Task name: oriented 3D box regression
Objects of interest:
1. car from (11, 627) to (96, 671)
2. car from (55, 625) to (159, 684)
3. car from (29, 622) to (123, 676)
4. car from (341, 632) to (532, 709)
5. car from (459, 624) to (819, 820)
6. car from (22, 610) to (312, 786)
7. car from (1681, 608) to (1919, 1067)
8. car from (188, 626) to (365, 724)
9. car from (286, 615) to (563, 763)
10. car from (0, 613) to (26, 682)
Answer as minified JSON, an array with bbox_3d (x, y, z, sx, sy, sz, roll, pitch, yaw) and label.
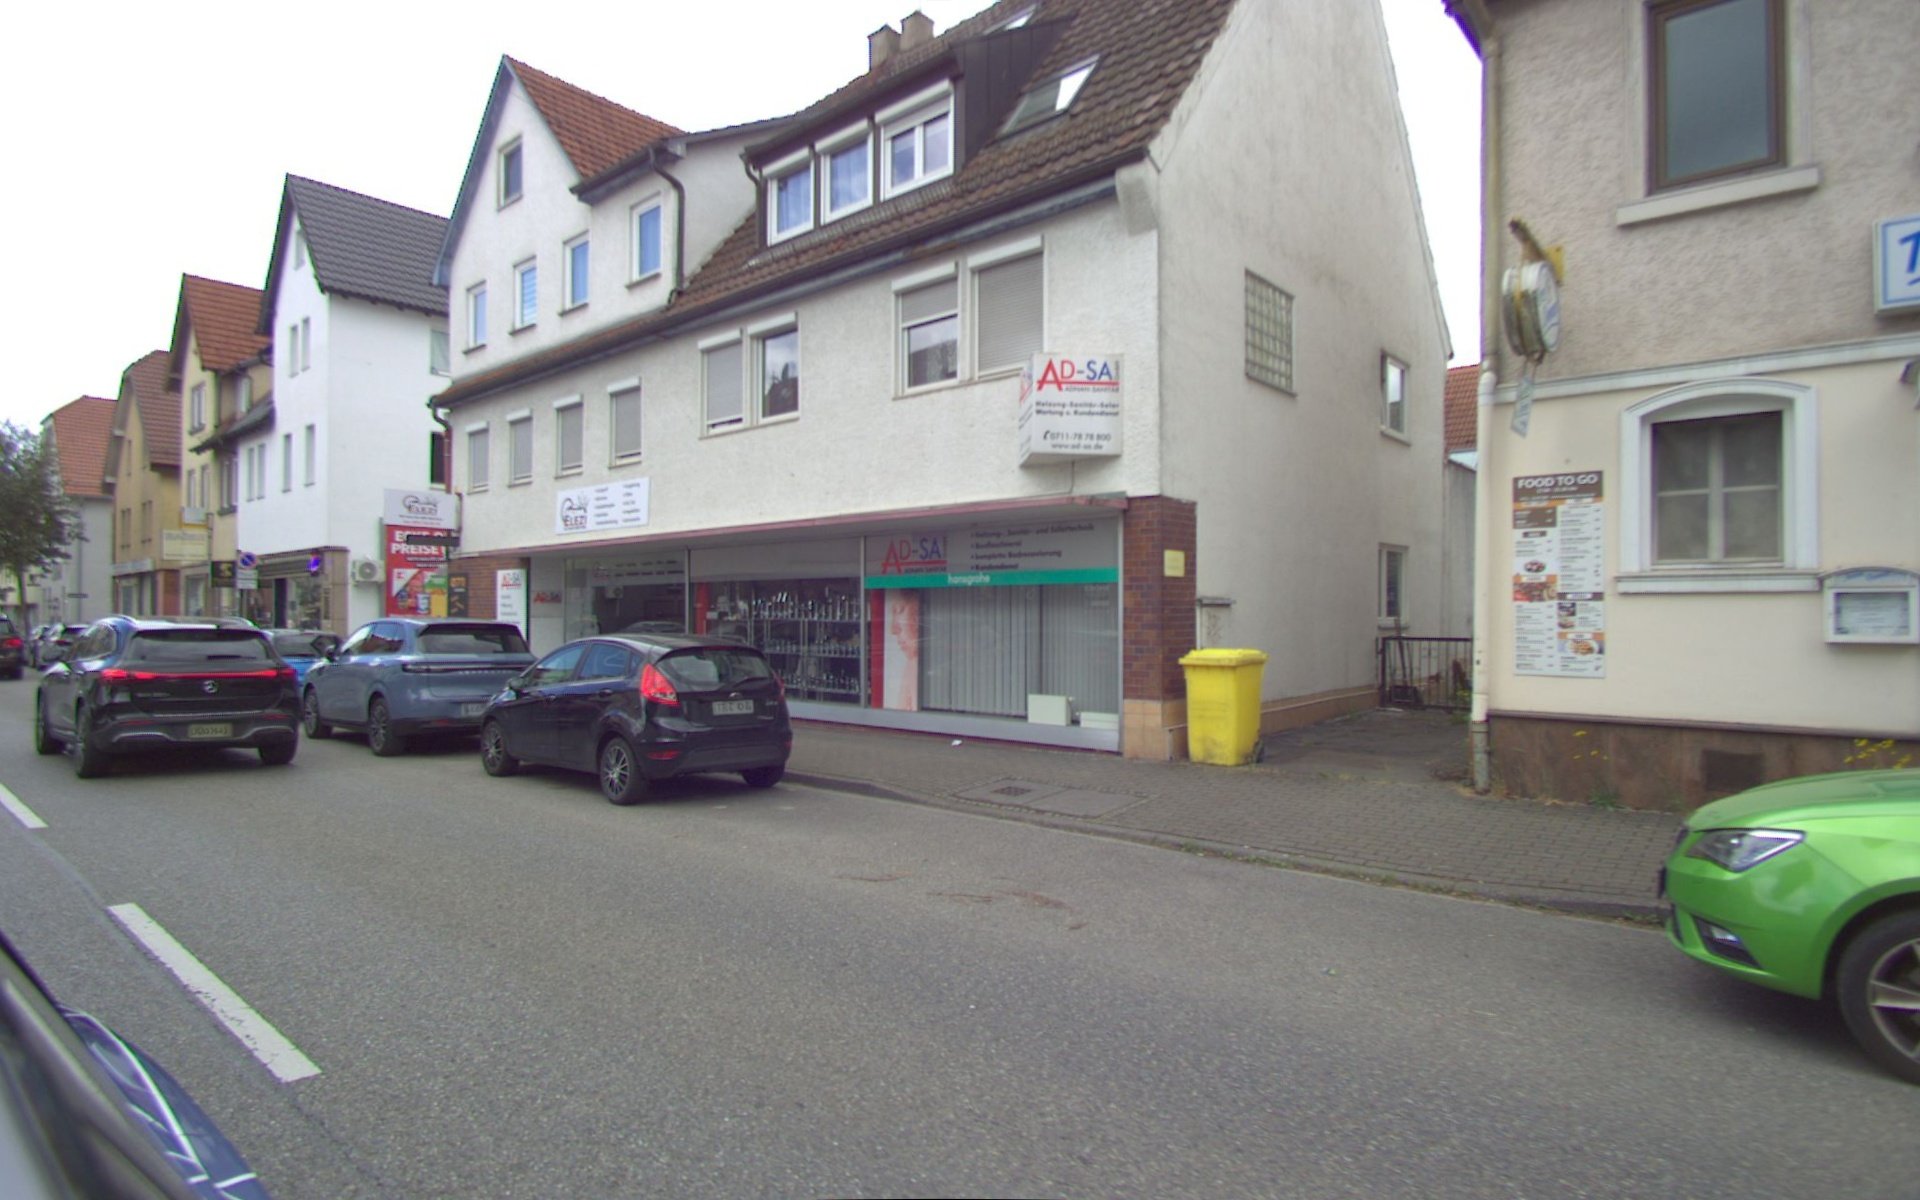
[{"bbox_3d":[-31.637,1.690,35.286,3.928,1.435,1.665,-1,-3,41],"label":"car"},{"bbox_3d":[-23.498,1.456,27.840,3.590,1.504,1.664,-1,-3,42],"label":"car"},{"bbox_3d":[-27.603,1.493,31.547,4.112,1.578,1.691,-1,-3,42],"label":"car"},{"bbox_3d":[-13.441,1.732,26.144,1.999,1.715,3.946,-1,-1,40],"label":"car"},{"bbox_3d":[-3.217,1.018,9.762,3.811,1.519,1.565,-1,-4,42],"label":"car"},{"bbox_3d":[-8.947,0.970,11.288,4.190,1.591,1.776,-1,-4,42],"label":"car"},{"bbox_3d":[4.662,0.768,3.004,4.016,1.458,1.666,-1,-3,39],"label":"car"},{"bbox_3d":[-11.979,1.228,17.653,3.774,1.511,1.664,-1,-3,42],"label":"car"},{"bbox_3d":[-7.036,1.033,13.109,4.303,1.611,1.784,-1,-3,42],"label":"car"},{"bbox_3d":[-26.434,1.235,26.932,4.365,1.751,1.880,-1,-3,42],"label":"car"}]
